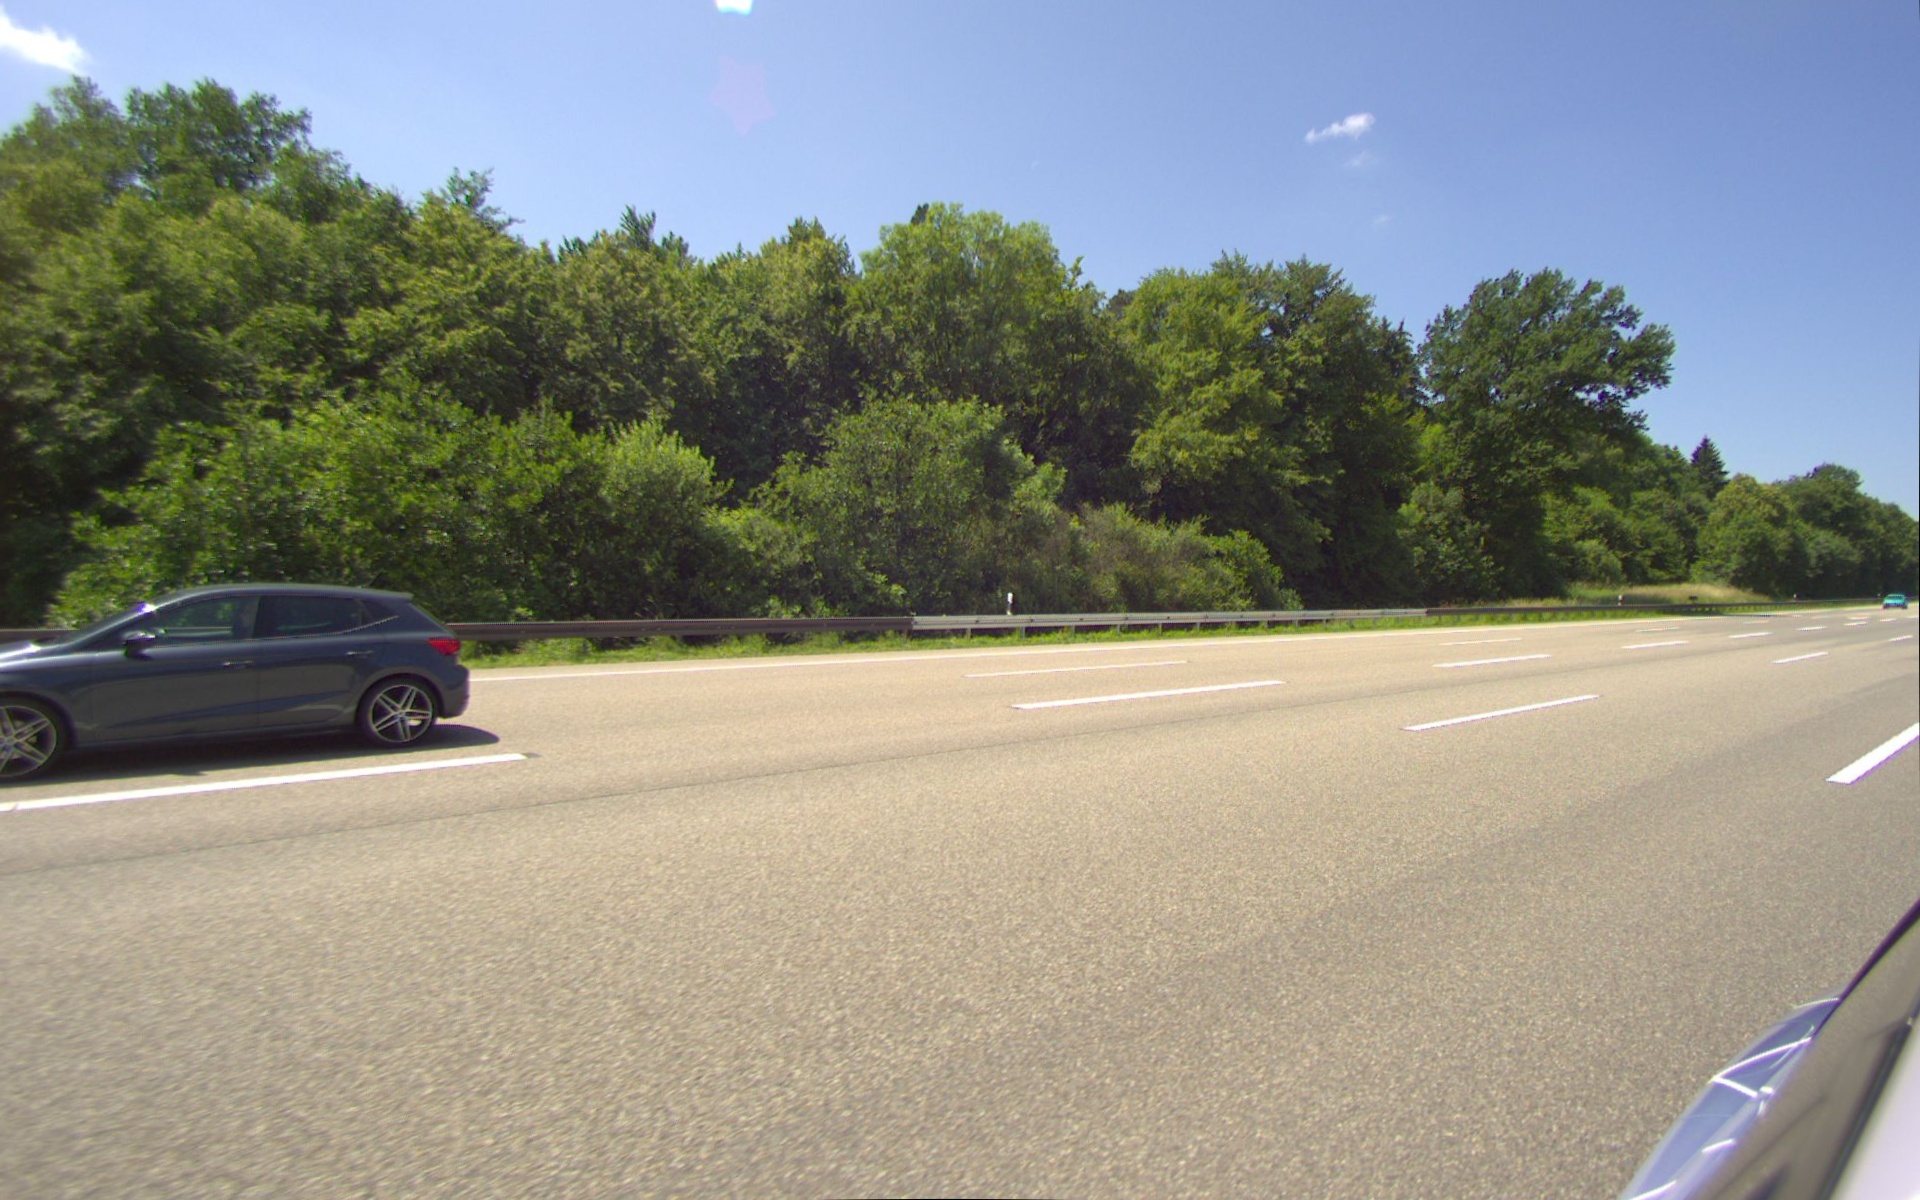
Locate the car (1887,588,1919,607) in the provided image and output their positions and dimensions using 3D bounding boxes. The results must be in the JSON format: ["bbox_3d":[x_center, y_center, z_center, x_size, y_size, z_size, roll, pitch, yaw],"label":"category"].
[{"bbox_3d":[92.234,-0.282,98.730,4.052,1.701,1.999,0,3,-39],"label":"car"}]

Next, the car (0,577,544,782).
[{"bbox_3d":[-6.218,0.539,8.798,4.554,1.456,1.646,-1,1,-41],"label":"car"}]
